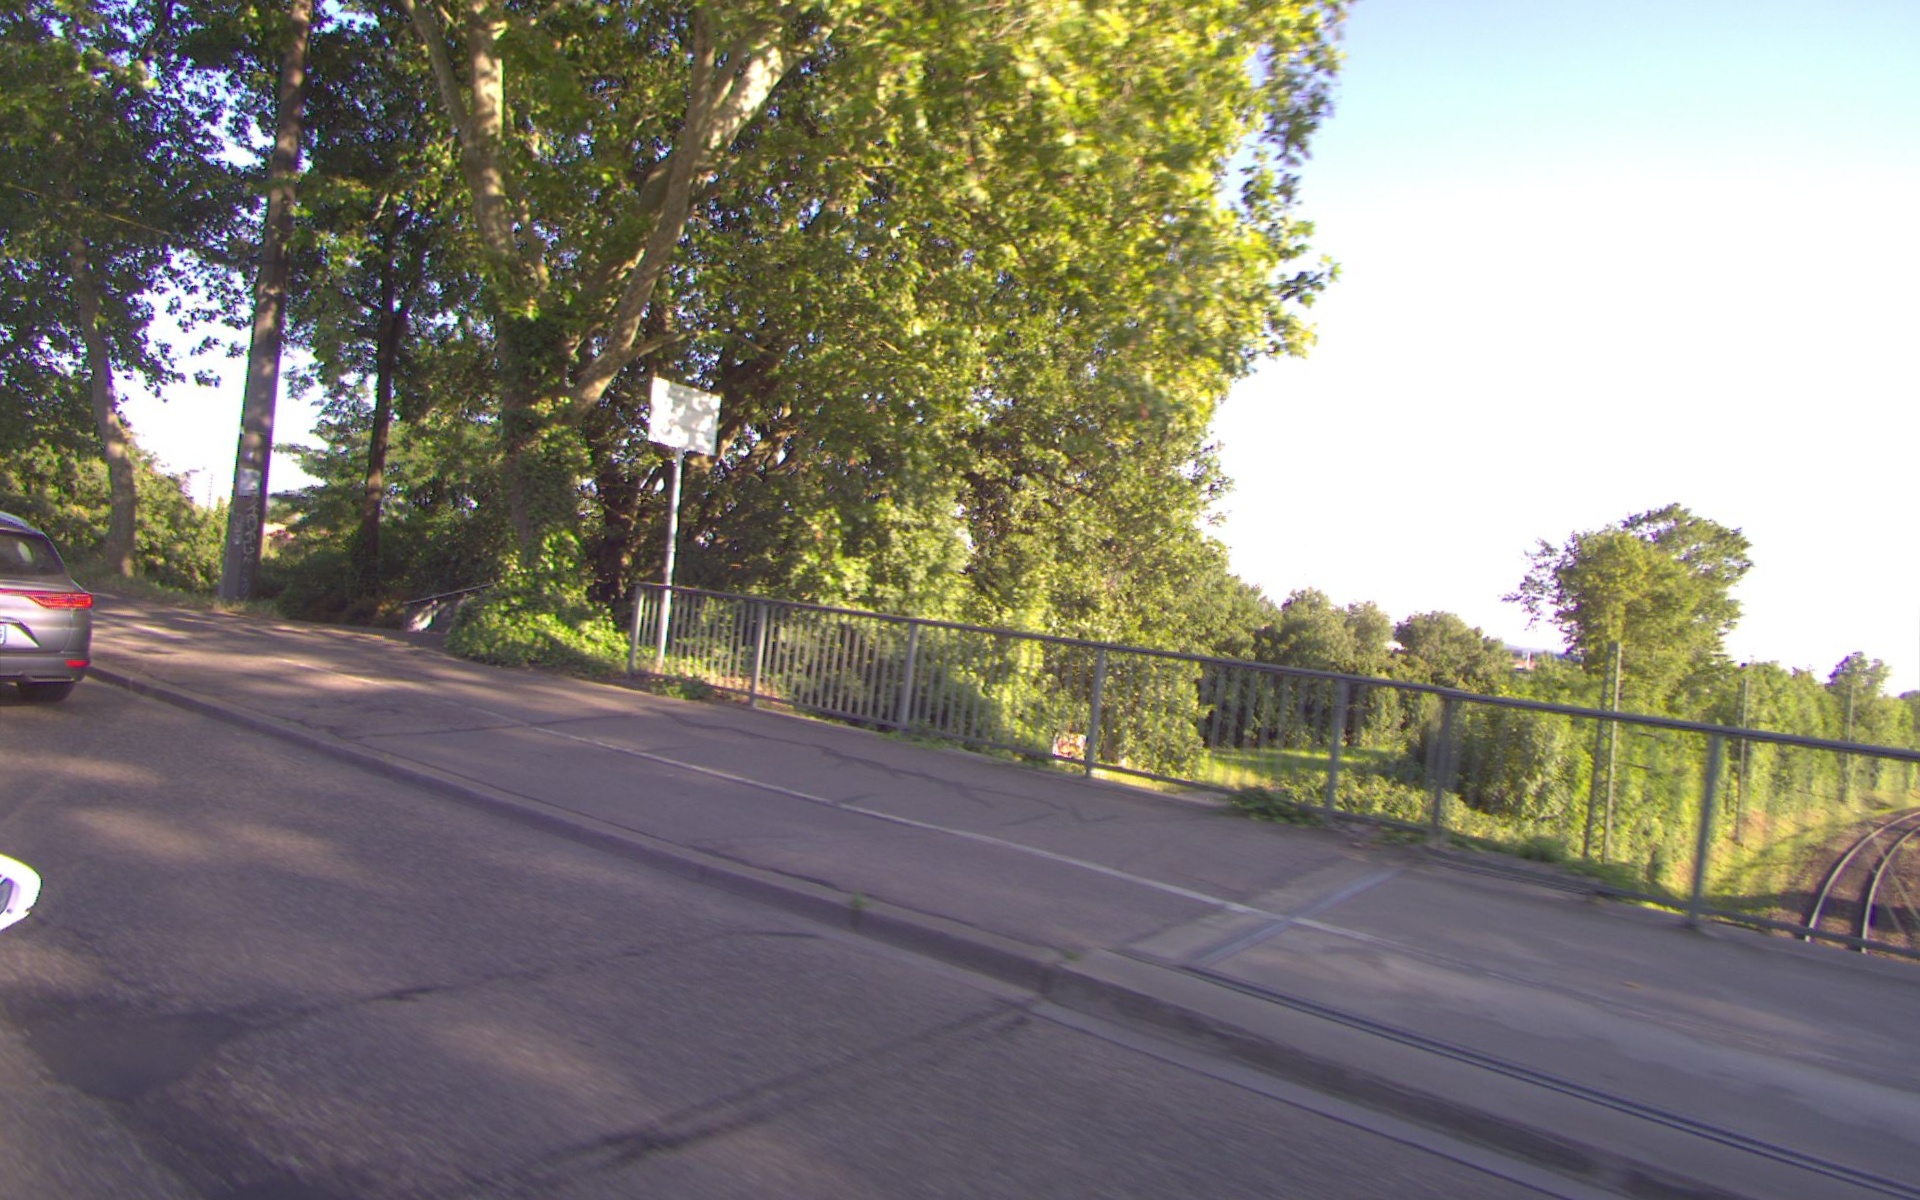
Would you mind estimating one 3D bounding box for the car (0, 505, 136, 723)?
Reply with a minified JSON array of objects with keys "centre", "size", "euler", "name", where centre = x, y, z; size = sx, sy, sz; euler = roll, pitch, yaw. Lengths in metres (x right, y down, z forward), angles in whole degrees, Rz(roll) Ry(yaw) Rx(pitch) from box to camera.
[{"centre":[-8.591,-0.123,7.867],"size":[4.589,1.485,1.868],"euler":[6,-1,32],"name":"car"}]
